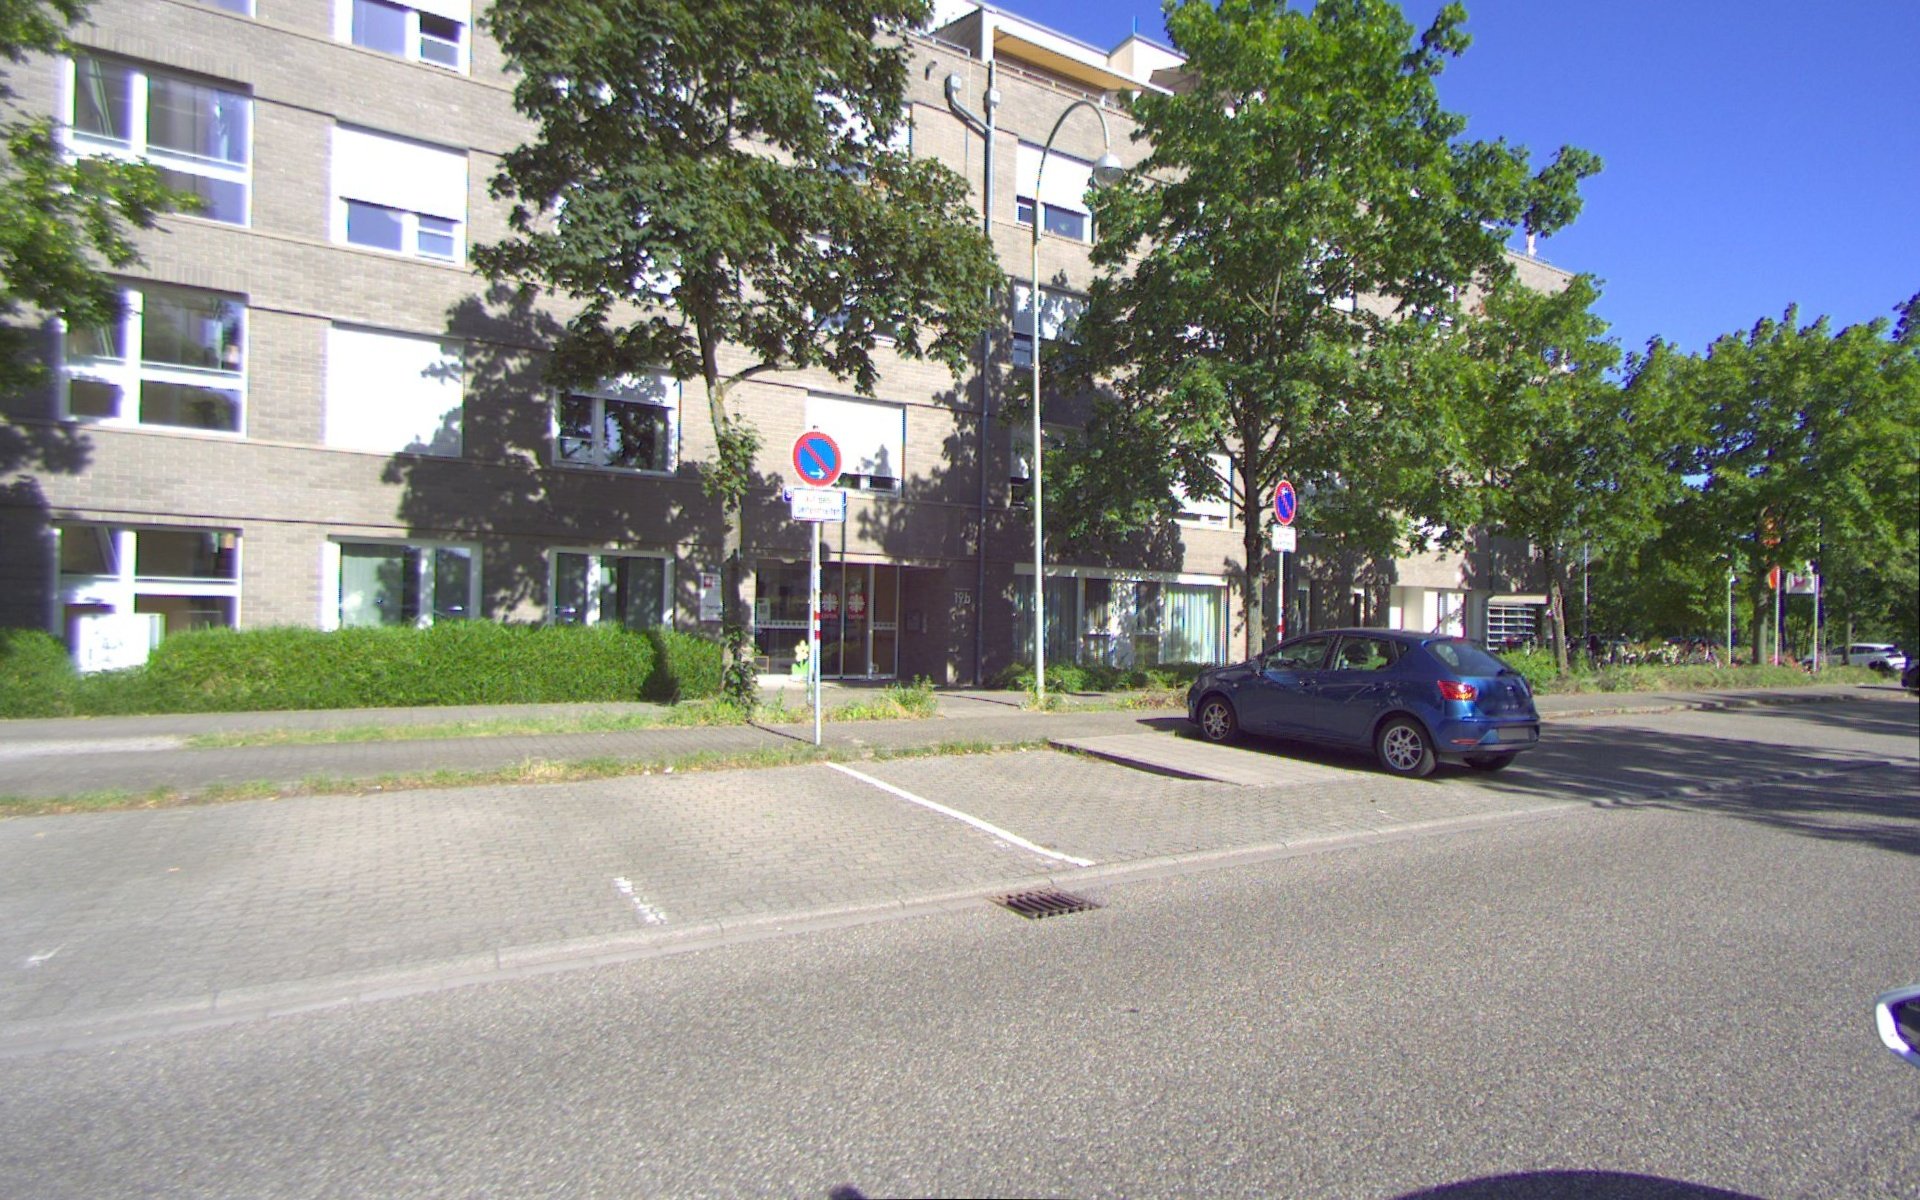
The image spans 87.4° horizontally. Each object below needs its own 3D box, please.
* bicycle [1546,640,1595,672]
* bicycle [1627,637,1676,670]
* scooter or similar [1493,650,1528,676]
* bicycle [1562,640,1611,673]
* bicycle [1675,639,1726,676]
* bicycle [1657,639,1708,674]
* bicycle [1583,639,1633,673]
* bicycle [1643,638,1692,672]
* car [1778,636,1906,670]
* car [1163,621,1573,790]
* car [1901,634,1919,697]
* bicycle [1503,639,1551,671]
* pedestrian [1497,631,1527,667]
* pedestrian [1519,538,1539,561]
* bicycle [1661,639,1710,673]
[{"bbox_3d":[20.860,1.905,34.301,2.167,1.061,0.435,2,0,-31],"label":"bicycle"},{"bbox_3d":[22.936,1.778,33.297,2.167,1.061,0.435,2,0,-31],"label":"bicycle"},{"bbox_3d":[20.684,2.364,37.758,0.857,0.967,0.800,2,-2,-27],"label":"scooter or similar"},{"bbox_3d":[21.122,1.898,33.836,2.167,1.061,0.435,2,0,-31],"label":"bicycle"},{"bbox_3d":[22.651,1.756,30.716,2.167,1.061,0.435,2,0,-31],"label":"bicycle"},{"bbox_3d":[22.408,1.753,31.131,2.167,1.061,0.435,2,0,-31],"label":"bicycle"},{"bbox_3d":[21.294,1.833,32.987,2.167,1.061,0.435,2,0,-31],"label":"bicycle"},{"bbox_3d":[23.164,1.790,32.860,2.167,1.061,0.435,2,0,-31],"label":"bicycle"},{"bbox_3d":[39.786,2.370,45.426,1.605,1.469,4.061,2,-3,-28],"label":"car"},{"bbox_3d":[4.362,1.021,11.318,1.798,1.430,3.963,2,-1,-33],"label":"car"},{"bbox_3d":[25.298,1.656,23.704,1.751,1.540,4.173,2,0,-29],"label":"car"},{"bbox_3d":[20.071,1.945,35.546,2.167,1.061,0.435,2,0,-31],"label":"bicycle"},{"bbox_3d":[20.749,1.842,37.745,0.662,1.352,0.739,2,-2,-29],"label":"pedestrian"},{"bbox_3d":[18.026,-1.611,31.839,0.424,0.695,0.412,2,0,-39],"label":"pedestrian"},{"bbox_3d":[23.410,1.805,32.405,2.167,1.061,0.435,2,0,-31],"label":"bicycle"}]
